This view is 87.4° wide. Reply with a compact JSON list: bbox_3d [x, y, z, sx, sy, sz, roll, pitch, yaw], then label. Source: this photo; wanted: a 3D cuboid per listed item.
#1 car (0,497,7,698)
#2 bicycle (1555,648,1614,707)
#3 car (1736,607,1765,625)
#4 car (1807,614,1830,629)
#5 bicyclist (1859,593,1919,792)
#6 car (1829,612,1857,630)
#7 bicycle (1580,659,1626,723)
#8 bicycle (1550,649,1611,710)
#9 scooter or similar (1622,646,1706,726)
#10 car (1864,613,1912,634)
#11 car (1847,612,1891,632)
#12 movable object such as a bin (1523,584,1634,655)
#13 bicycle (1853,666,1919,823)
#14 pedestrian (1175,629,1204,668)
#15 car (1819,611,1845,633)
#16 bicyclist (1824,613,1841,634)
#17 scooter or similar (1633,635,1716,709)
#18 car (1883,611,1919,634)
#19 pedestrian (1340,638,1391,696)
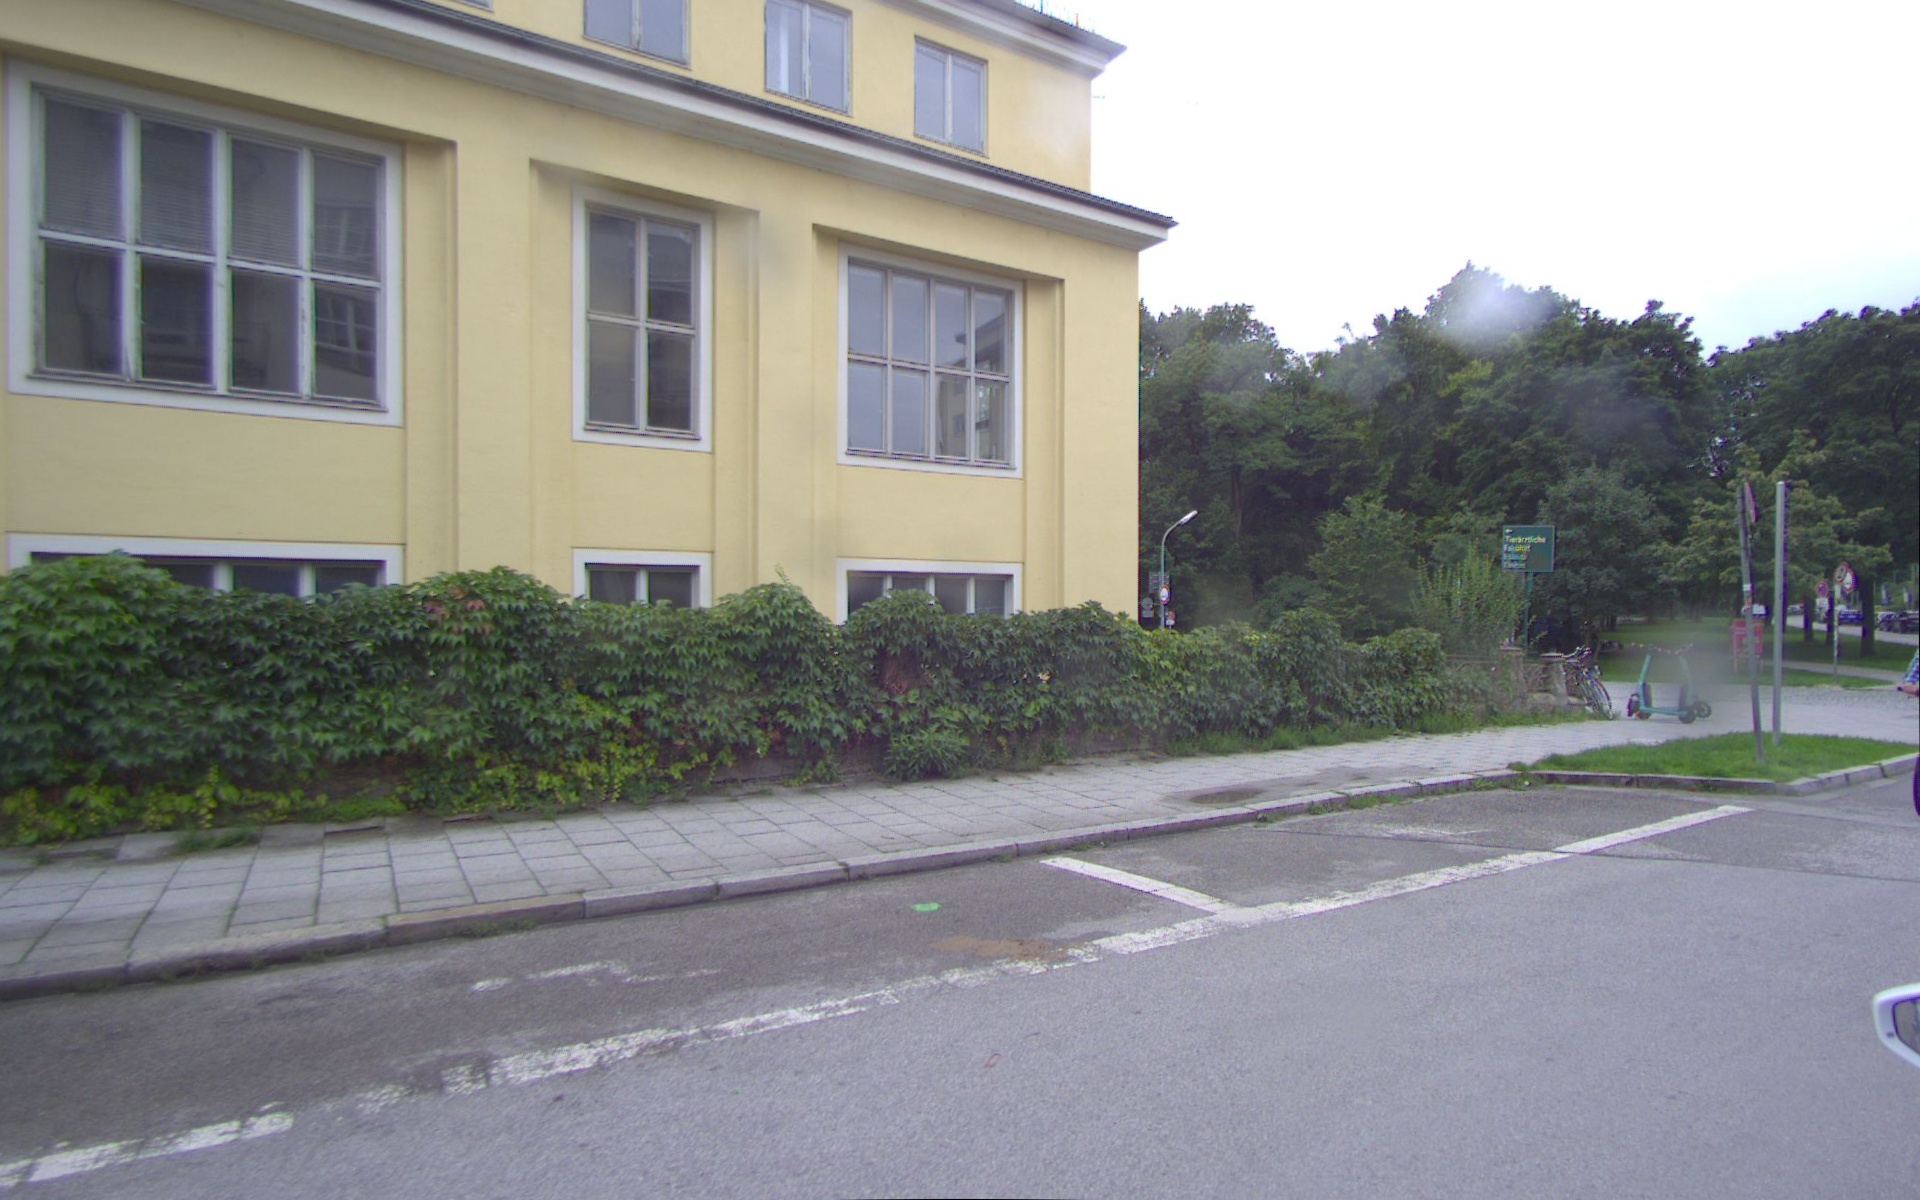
[{"bbox_3d":[-5.757,0.480,1.912,5.284,1.989,2.064,1,-3,-29],"label":"car"},{"bbox_3d":[11.626,1.426,18.741,0.295,1.003,1.585,0,-1,7],"label":"bicycle"},{"bbox_3d":[78.848,1.635,100.239,1.966,1.713,3.989,0,-1,33],"label":"car"},{"bbox_3d":[96.516,2.458,112.940,1.970,1.627,3.980,0,-1,41],"label":"car"},{"bbox_3d":[8.279,0.769,8.431,0.937,1.629,0.858,1,0,-33],"label":"bicyclist"},{"bbox_3d":[84.480,2.021,96.147,1.970,1.627,3.980,0,-1,41],"label":"car"},{"bbox_3d":[10.734,1.494,16.757,0.535,0.987,1.150,0,-1,38],"label":"bicycle"},{"bbox_3d":[11.261,1.420,18.259,0.295,1.003,1.585,0,-1,7],"label":"bicycle"},{"bbox_3d":[11.449,1.373,16.369,0.340,1.204,1.113,1,0,-21],"label":"scooter or similar"},{"bbox_3d":[72.799,1.833,78.850,1.965,1.627,3.991,0,-1,31],"label":"car"},{"bbox_3d":[75.708,1.829,83.679,1.965,1.627,3.991,0,-1,31],"label":"car"},{"bbox_3d":[28.925,0.913,47.064,3.920,3.256,2.001,0,-1,3],"label":"movable object such as a bin"},{"bbox_3d":[8.285,1.172,8.436,1.982,1.174,0.666,2,0,-33],"label":"bicycle"},{"bbox_3d":[10.284,2.160,44.997,0.879,1.710,0.938,1,-1,-29],"label":"pedestrian"},{"bbox_3d":[89.903,2.246,103.545,1.970,2.188,3.980,0,-1,41],"label":"car"},{"bbox_3d":[62.869,1.686,72.352,0.784,1.490,0.891,1,0,34],"label":"bicyclist"},{"bbox_3d":[12.030,1.203,16.930,1.096,1.204,0.345,1,0,6],"label":"scooter or similar"},{"bbox_3d":[69.880,1.680,74.039,1.965,1.627,3.991,0,-1,31],"label":"car"},{"bbox_3d":[9.780,1.587,24.231,0.986,1.347,0.768,1,-2,-39],"label":"pedestrian"}]
